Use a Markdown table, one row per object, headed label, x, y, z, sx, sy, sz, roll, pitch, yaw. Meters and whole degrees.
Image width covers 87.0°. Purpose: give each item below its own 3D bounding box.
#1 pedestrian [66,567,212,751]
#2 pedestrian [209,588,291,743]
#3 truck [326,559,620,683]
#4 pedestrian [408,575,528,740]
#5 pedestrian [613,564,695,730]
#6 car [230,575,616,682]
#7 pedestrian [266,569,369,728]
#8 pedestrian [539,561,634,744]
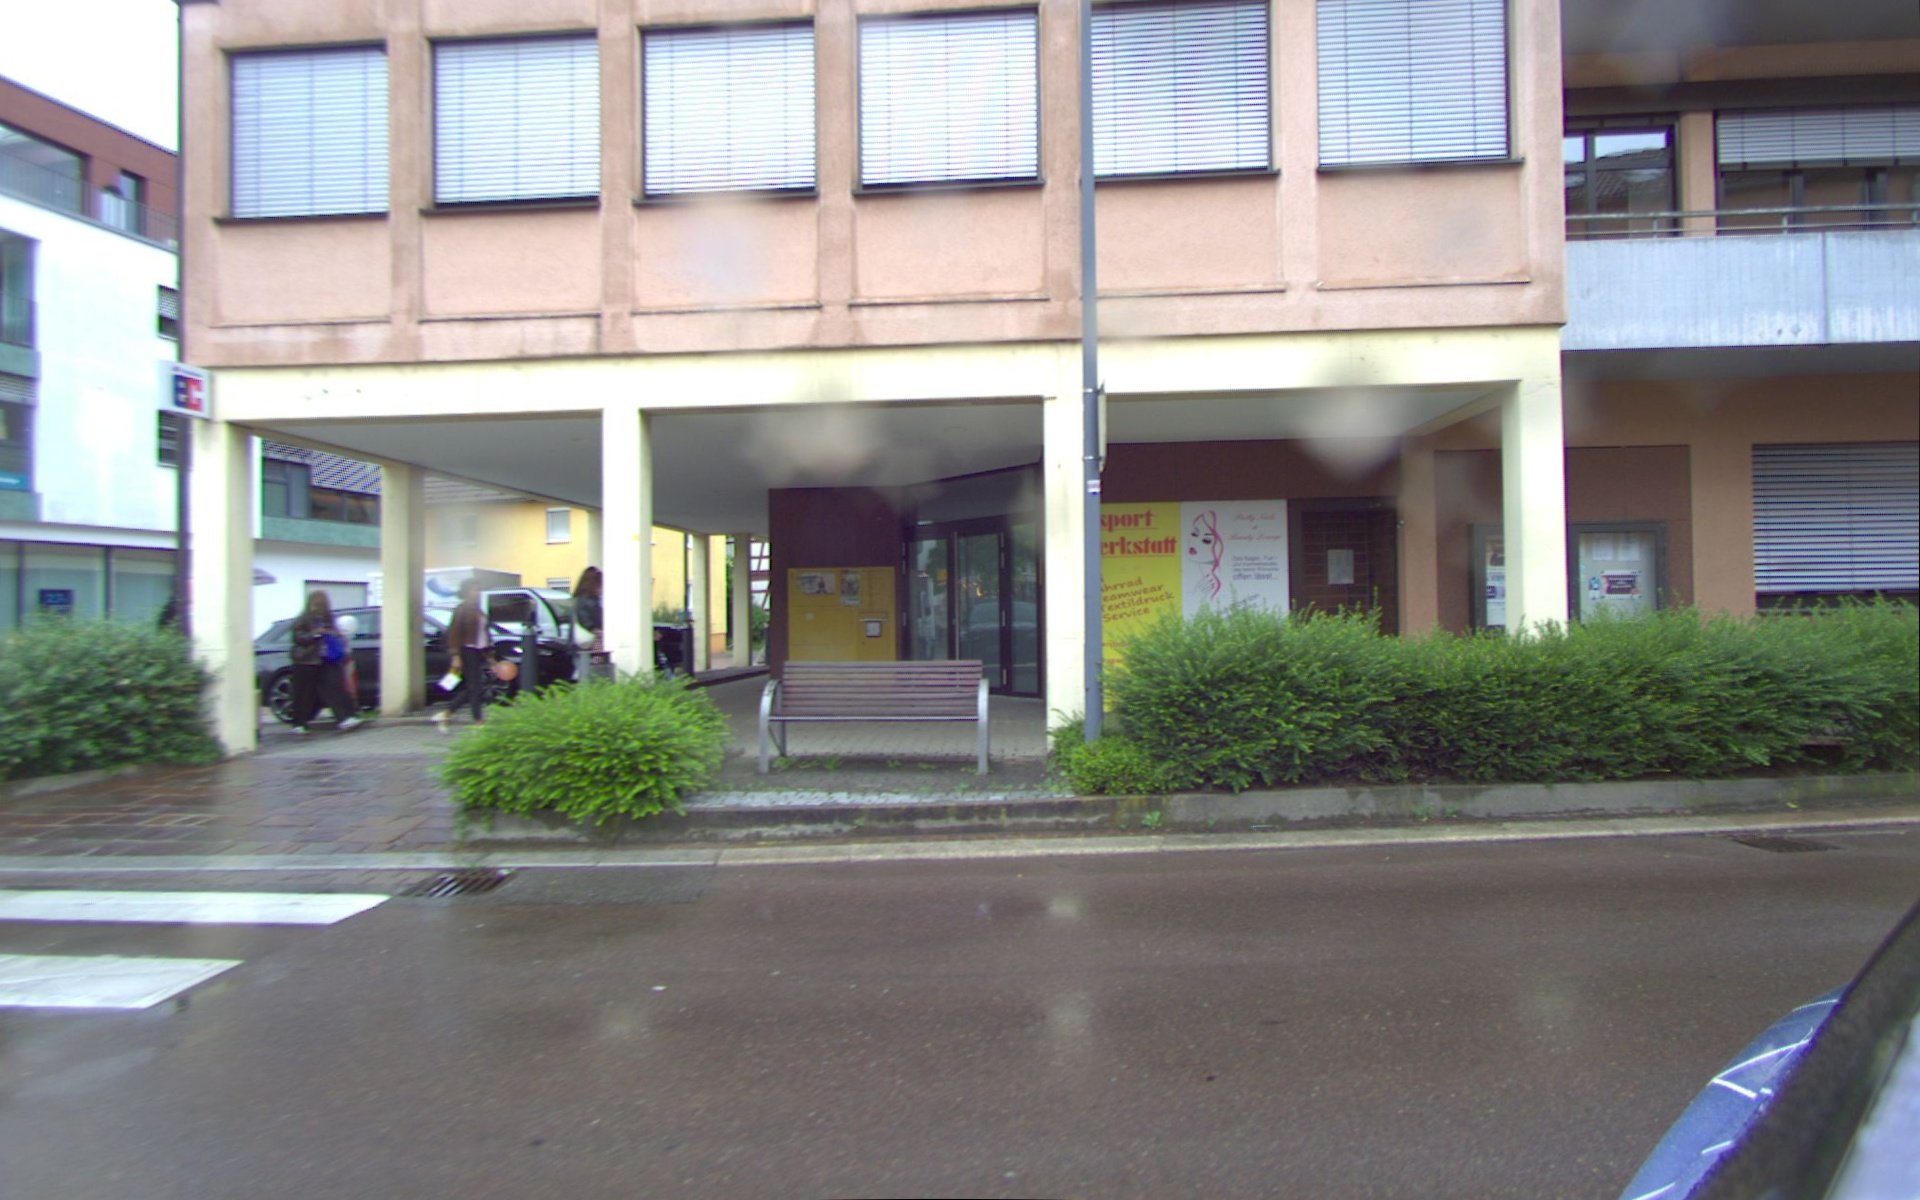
| label | x | y | z | sx | sy | sz | roll | pitch | yaw |
| --- | --- | --- | --- | --- | --- | --- | --- | --- | --- |
| pedestrian | -8.244 | 0.576 | 10.191 | 0.877 | 1.771 | 0.735 | -1 | 0 | 5 |
| pedestrian | -7.943 | 0.718 | 11.338 | 0.512 | 1.684 | 0.541 | -1 | -1 | 8 |
| truck | -7.720 | 0.327 | 16.247 | 3.930 | 1.831 | 1.766 | -1 | 0 | 6 |
| pedestrian | -5.064 | 0.562 | 10.448 | 0.812 | 1.624 | 0.743 | 0 | 2 | 10 |
| pedestrian | -3.288 | 0.486 | 10.935 | 0.718 | 1.711 | 0.726 | -1 | 0 | -7 |
| car | -7.153 | 0.369 | 13.711 | 4.393 | 1.292 | 1.766 | -1 | 0 | 6 |
| pedestrian | -7.150 | 0.528 | 11.284 | 0.730 | 1.711 | 0.634 | -1 | 0 | 6 |
| pedestrian | -3.600 | 0.482 | 9.811 | 0.803 | 1.682 | 0.700 | -1 | 0 | -17 |
